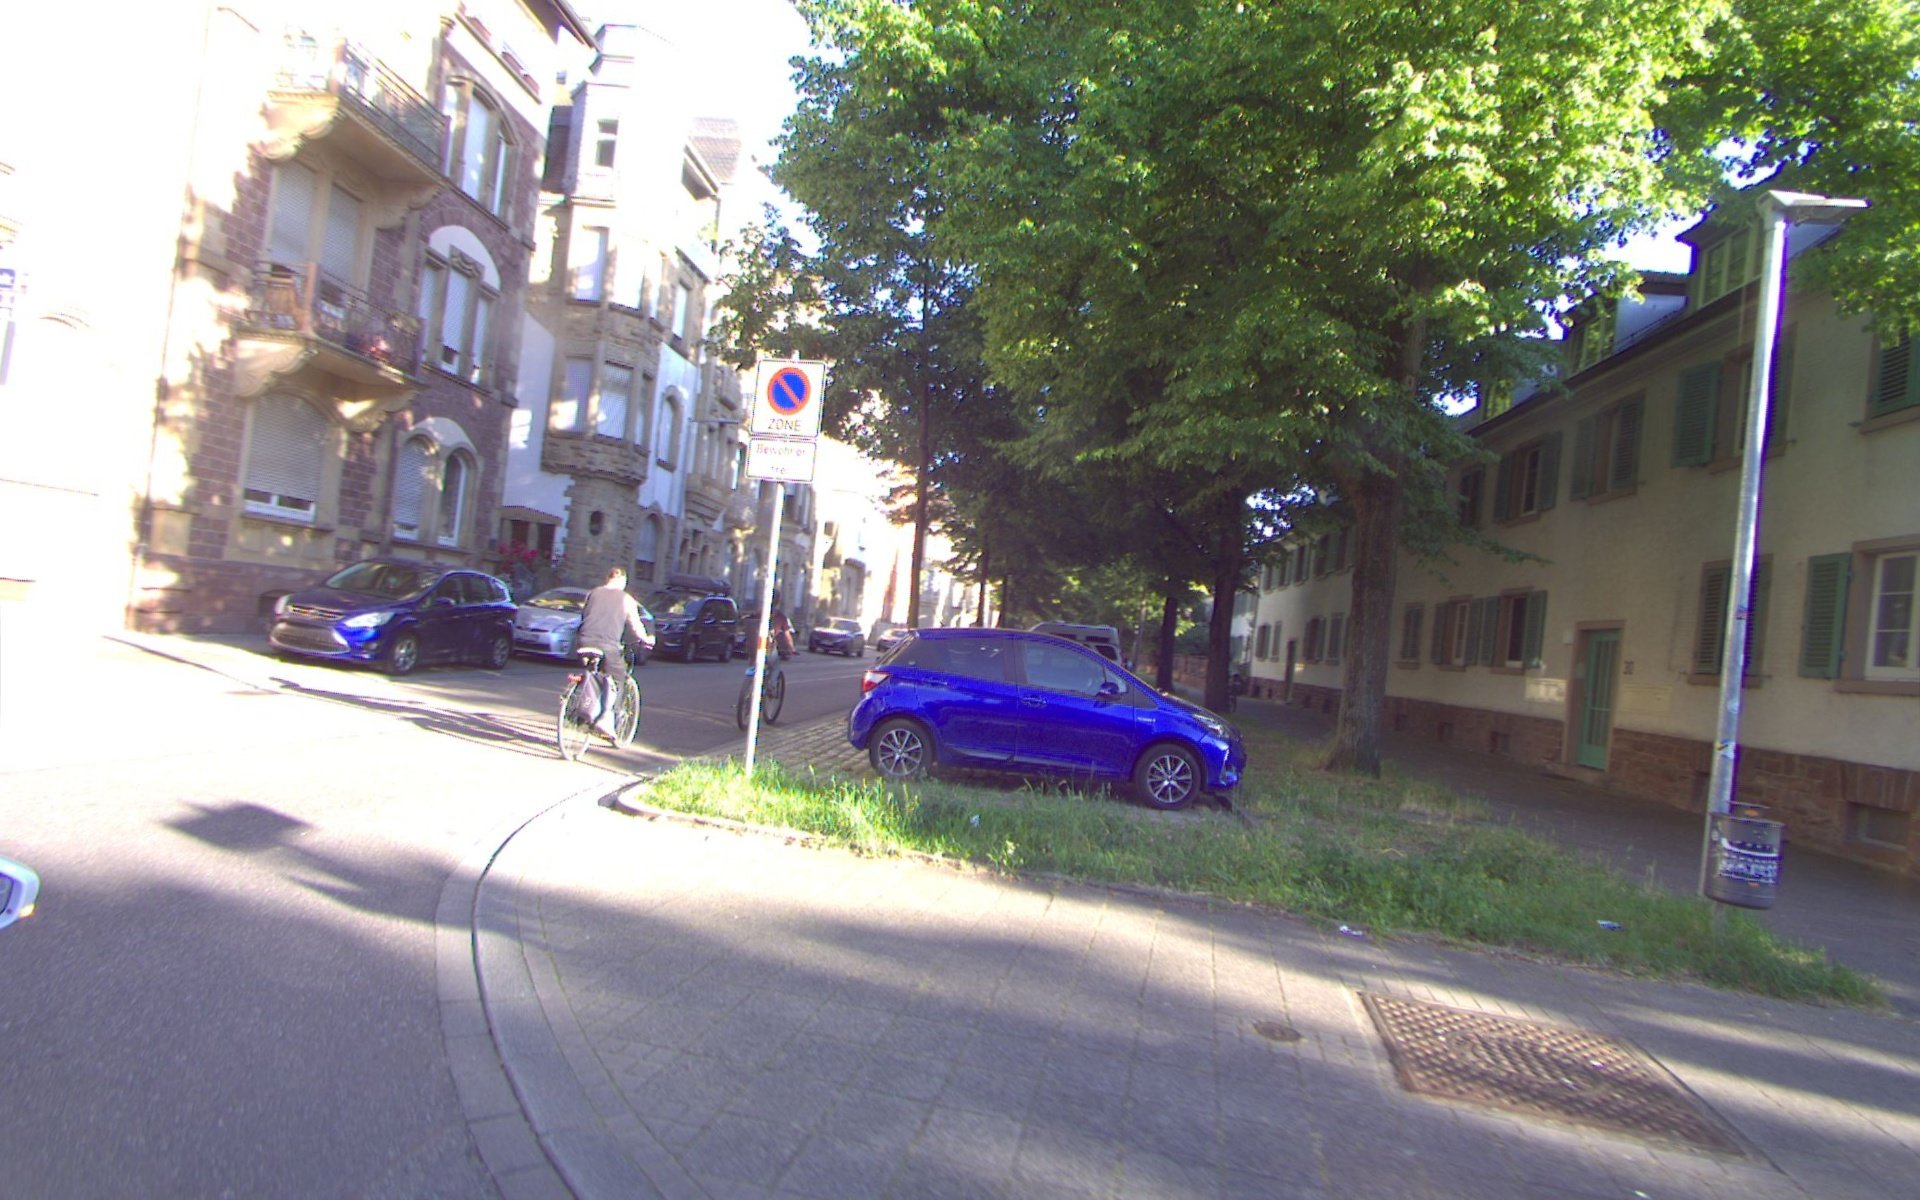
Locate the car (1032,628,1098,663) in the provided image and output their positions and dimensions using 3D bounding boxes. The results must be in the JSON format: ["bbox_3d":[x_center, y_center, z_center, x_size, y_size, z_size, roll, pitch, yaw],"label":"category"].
[{"bbox_3d":[11.940,5.191,114.548,7.215,3.319,2.226,5,-2,7],"label":"car"}]

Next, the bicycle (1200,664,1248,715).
[{"bbox_3d":[7.091,2.392,27.111,0.618,1.176,1.935,7,-1,-1],"label":"bicycle"}]

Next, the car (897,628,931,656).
[{"bbox_3d":[-3.021,2.809,66.218,1.468,1.533,3.780,10,-2,6],"label":"car"}]

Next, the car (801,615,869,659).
[{"bbox_3d":[-5.467,1.687,44.604,2.017,1.640,4.402,6,-3,4],"label":"car"}]

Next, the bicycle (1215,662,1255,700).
[{"bbox_3d":[11.671,3.417,42.757,0.788,1.416,2.003,6,-2,-7],"label":"bicycle"}]

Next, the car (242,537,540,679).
[{"bbox_3d":[-8.365,0.236,15.332,1.702,1.639,4.265,8,-3,4],"label":"car"}]

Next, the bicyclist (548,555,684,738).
[{"bbox_3d":[-3.170,0.435,9.373,0.695,1.544,0.973,6,-2,5],"label":"bicyclist"}]

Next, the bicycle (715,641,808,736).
[{"bbox_3d":[-2.554,1.139,13.176,0.546,1.085,1.972,6,-3,5],"label":"bicycle"}]

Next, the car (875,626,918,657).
[{"bbox_3d":[-3.799,2.545,60.726,1.728,1.533,4.120,10,-2,6],"label":"car"}]

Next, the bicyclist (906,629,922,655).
[{"bbox_3d":[-2.532,2.313,55.562,0.654,1.361,1.061,5,-1,3],"label":"bicyclist"}]

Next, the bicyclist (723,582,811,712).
[{"bbox_3d":[-2.489,0.619,13.080,0.707,1.544,0.973,6,-2,5],"label":"bicyclist"}]

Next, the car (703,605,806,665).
[{"bbox_3d":[-6.578,1.204,32.740,1.702,1.591,4.717,6,-3,7],"label":"car"}]

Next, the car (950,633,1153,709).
[{"bbox_3d":[2.288,1.779,25.423,4.815,1.458,1.945,4,-3,4],"label":"car"}]

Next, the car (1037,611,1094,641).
[{"bbox_3d":[8.160,2.003,77.460,4.175,1.861,1.858,5,-3,7],"label":"car"}]

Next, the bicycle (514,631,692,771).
[{"bbox_3d":[-3.233,0.904,9.354,0.685,1.085,1.972,6,-3,5],"label":"bicycle"}]

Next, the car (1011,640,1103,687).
[{"bbox_3d":[3.821,2.521,39.885,3.445,1.489,1.754,5,-3,5],"label":"car"}]

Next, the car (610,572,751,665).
[{"bbox_3d":[-7.181,0.538,26.369,1.938,1.997,4.502,8,-2,4],"label":"car"}]

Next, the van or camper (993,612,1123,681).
[{"bbox_3d":[4.324,2.097,44.901,5.485,2.565,2.272,4,-3,4],"label":"van or camper"}]

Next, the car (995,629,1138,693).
[{"bbox_3d":[3.430,1.958,32.769,4.404,1.690,1.944,4,-1,4],"label":"car"}]

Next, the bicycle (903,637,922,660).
[{"bbox_3d":[-2.595,2.647,55.160,0.741,1.192,2.622,5,-1,3],"label":"bicycle"}]

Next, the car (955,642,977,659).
[{"bbox_3d":[0.671,5.357,106.669,1.962,1.502,4.006,6,-3,5],"label":"car"}]

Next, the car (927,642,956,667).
[{"bbox_3d":[-1.367,4.137,76.026,1.605,1.684,3.975,6,-3,5],"label":"car"}]

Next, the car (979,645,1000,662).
[{"bbox_3d":[2.942,5.391,100.976,1.867,1.502,4.388,6,-3,3],"label":"car"}]

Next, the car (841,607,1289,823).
[{"bbox_3d":[0.992,1.090,10.094,3.923,1.573,2.003,5,-3,4],"label":"car"}]

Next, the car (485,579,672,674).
[{"bbox_3d":[-7.639,0.581,20.661,1.702,1.516,4.459,8,-2,4],"label":"car"}]
